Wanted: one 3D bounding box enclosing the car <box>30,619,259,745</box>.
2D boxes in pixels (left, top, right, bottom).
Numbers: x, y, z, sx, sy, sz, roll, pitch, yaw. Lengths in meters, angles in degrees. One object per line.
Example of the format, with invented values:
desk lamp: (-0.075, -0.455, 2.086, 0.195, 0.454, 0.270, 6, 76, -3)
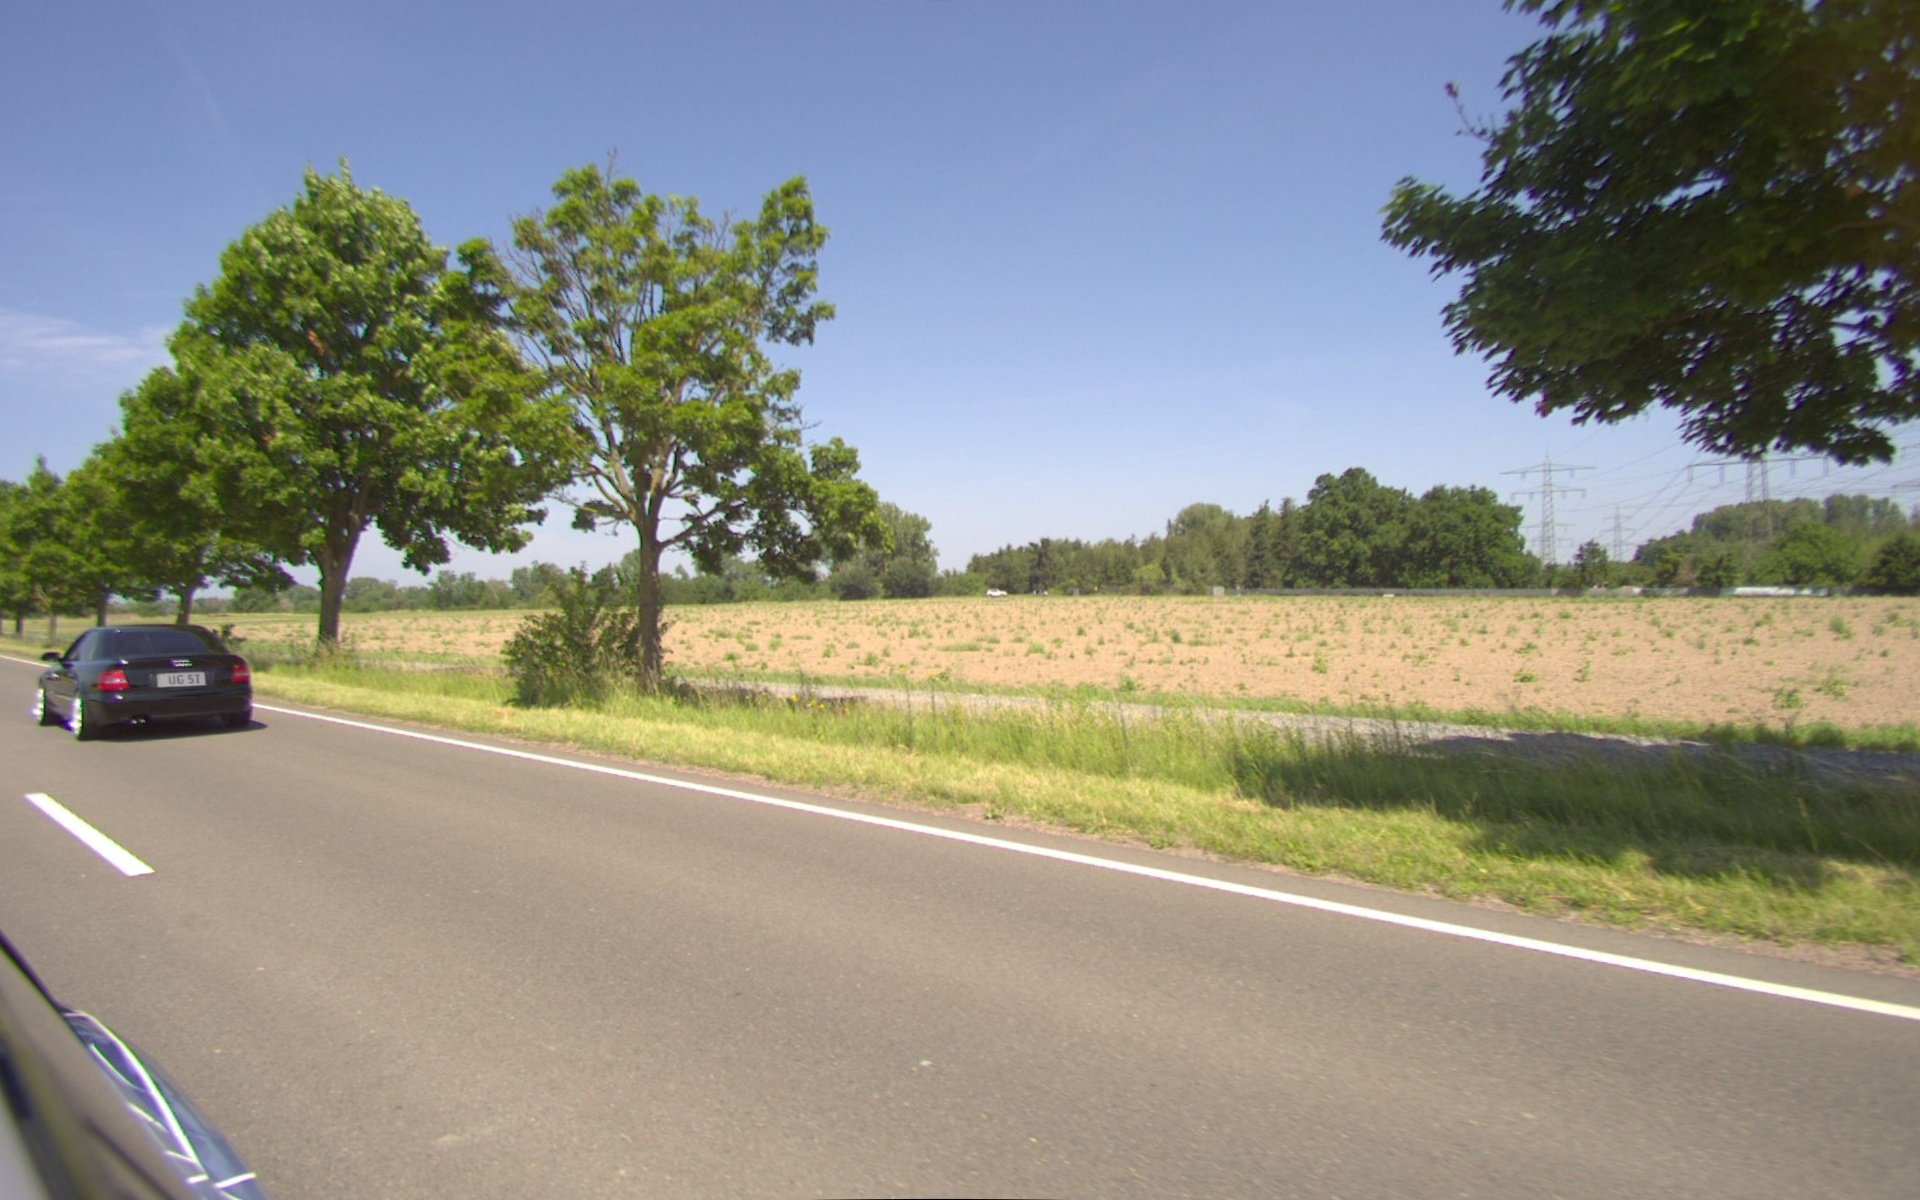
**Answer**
car: (-10.696, 0.950, 13.178, 3.998, 1.342, 1.687, -1, 0, 41)
